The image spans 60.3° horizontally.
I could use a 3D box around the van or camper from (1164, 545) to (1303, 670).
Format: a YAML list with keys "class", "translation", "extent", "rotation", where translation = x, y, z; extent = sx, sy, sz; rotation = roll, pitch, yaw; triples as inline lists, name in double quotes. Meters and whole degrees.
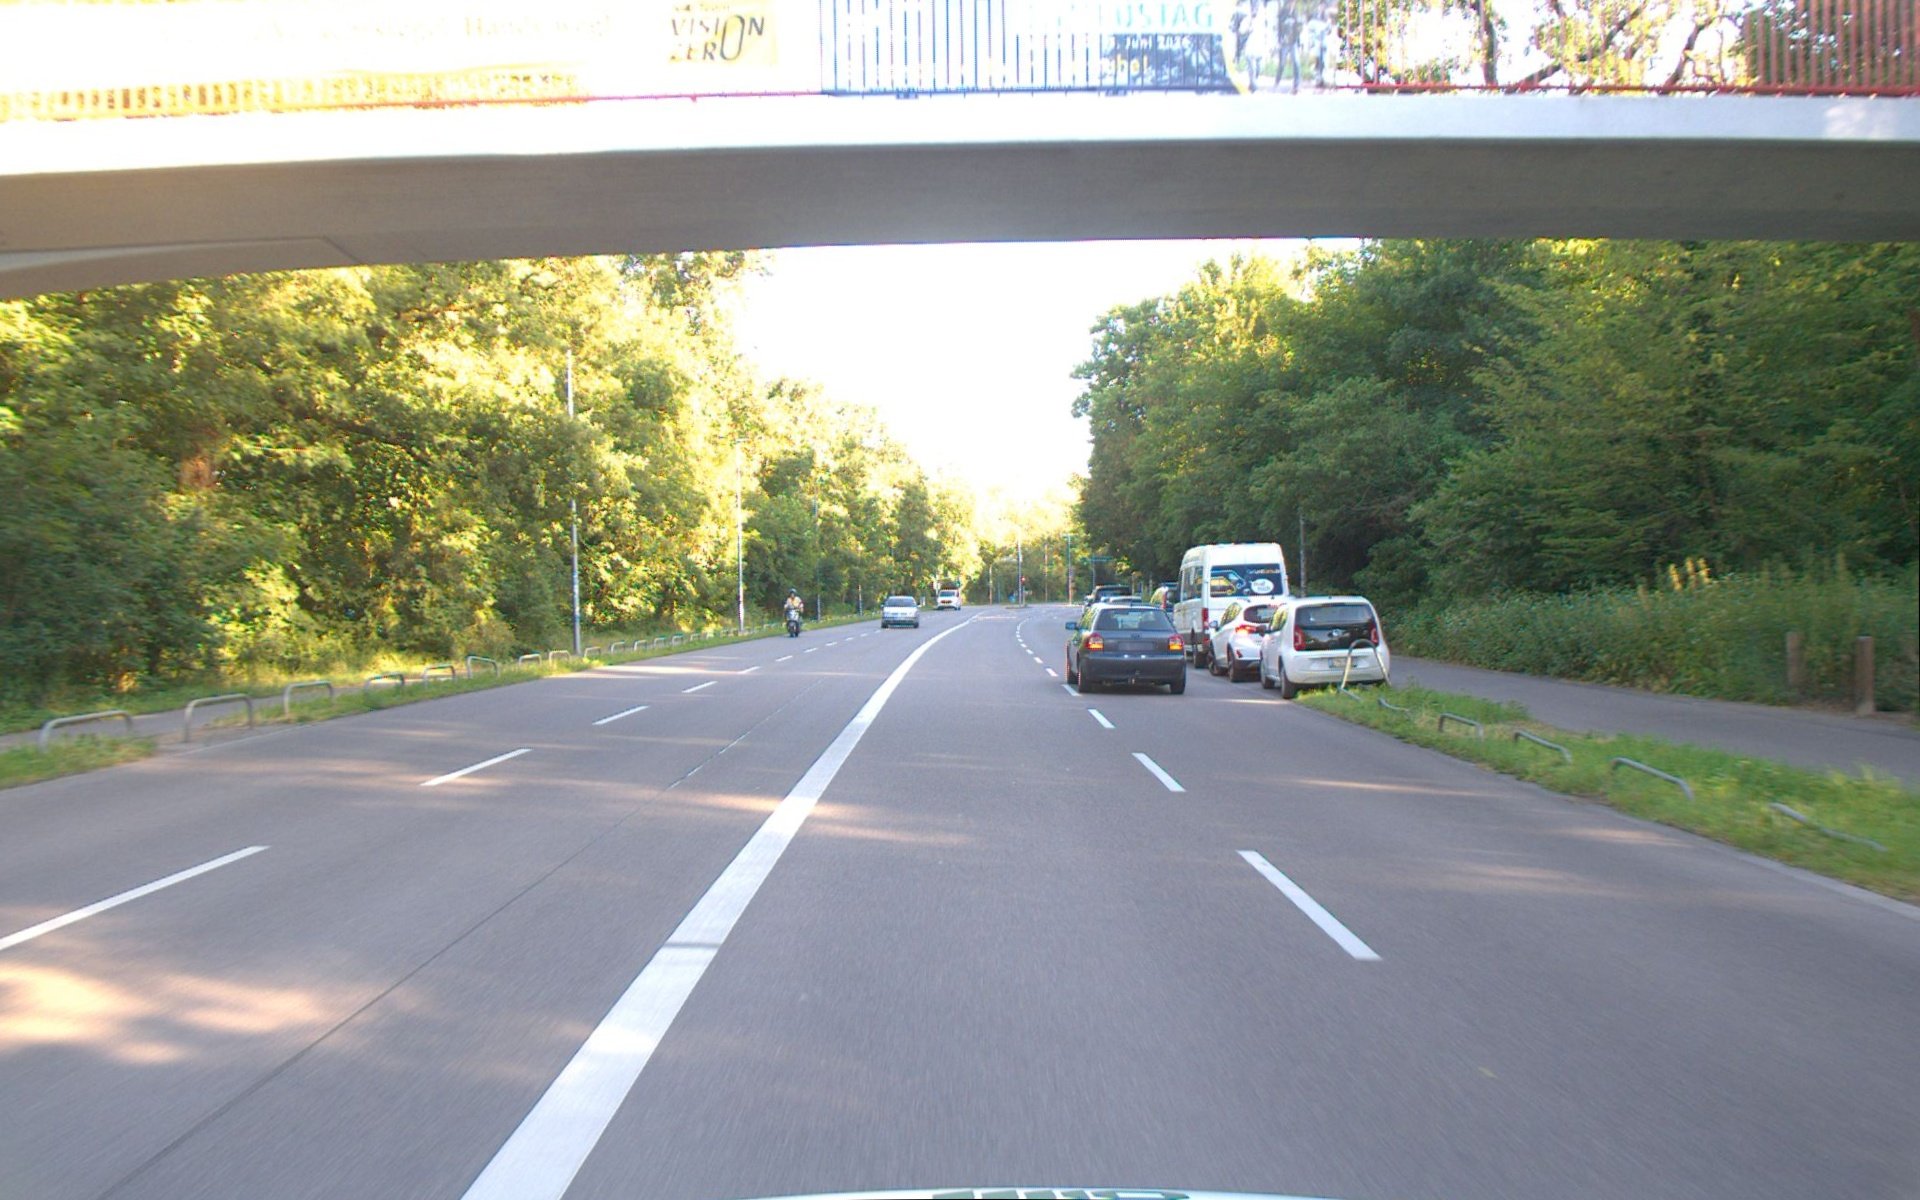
- class: "van or camper"
  translation: [6.032, 0.151, 37.218]
  extent: [2.075, 2.561, 5.979]
  rotation: [-1, 0, 0]

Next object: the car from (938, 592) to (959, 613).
- class: "car"
  translation: [-1.112, 0.241, 163.157]
  extent: [1.952, 2.027, 4.998]
  rotation: [0, 0, 2]

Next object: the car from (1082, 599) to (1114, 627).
- class: "car"
  translation: [7.963, 0.741, 95.954]
  extent: [1.691, 1.466, 4.669]
  rotation: [-3, 0, 4]

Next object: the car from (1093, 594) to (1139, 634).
- class: "car"
  translation: [6.420, 0.545, 68.316]
  extent: [1.691, 1.571, 4.219]
  rotation: [0, 0, 3]

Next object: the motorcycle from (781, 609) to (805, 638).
- class: "motorcycle"
  translation: [-5.969, 0.845, 59.160]
  extent: [0.623, 1.013, 2.077]
  rotation: [0, 0, 0]

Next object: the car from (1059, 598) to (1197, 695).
- class: "car"
  translation: [2.662, 0.709, 27.077]
  extent: [1.693, 1.467, 4.088]
  rotation: [0, 0, -2]

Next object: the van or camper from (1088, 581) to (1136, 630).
- class: "van or camper"
  translation: [6.720, 0.240, 73.639]
  extent: [1.853, 1.982, 5.136]
  rotation: [-3, 0, 3]

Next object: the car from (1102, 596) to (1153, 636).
- class: "car"
  translation: [6.300, 0.570, 62.545]
  extent: [1.691, 1.467, 4.102]
  rotation: [0, 0, 3]

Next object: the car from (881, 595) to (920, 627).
- class: "car"
  translation: [-2.754, 0.510, 76.786]
  extent: [1.647, 1.431, 3.890]
  rotation: [0, 0, 0]

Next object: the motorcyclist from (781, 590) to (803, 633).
- class: "motorcyclist"
  translation: [-5.983, 0.399, 58.993]
  extent: [0.709, 1.532, 0.672]
  rotation: [0, -1, 0]

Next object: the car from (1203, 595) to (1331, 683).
- class: "car"
  translation: [5.665, 0.672, 30.918]
  extent: [1.687, 1.522, 4.146]
  rotation: [0, 0, 1]

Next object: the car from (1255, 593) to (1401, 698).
- class: "car"
  translation: [5.746, 0.667, 26.179]
  extent: [1.687, 1.522, 3.776]
  rotation: [0, 0, 4]

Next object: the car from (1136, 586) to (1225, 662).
- class: "car"
  translation: [5.870, 0.609, 44.537]
  extent: [1.792, 1.900, 5.074]
  rotation: [-1, 0, 1]
